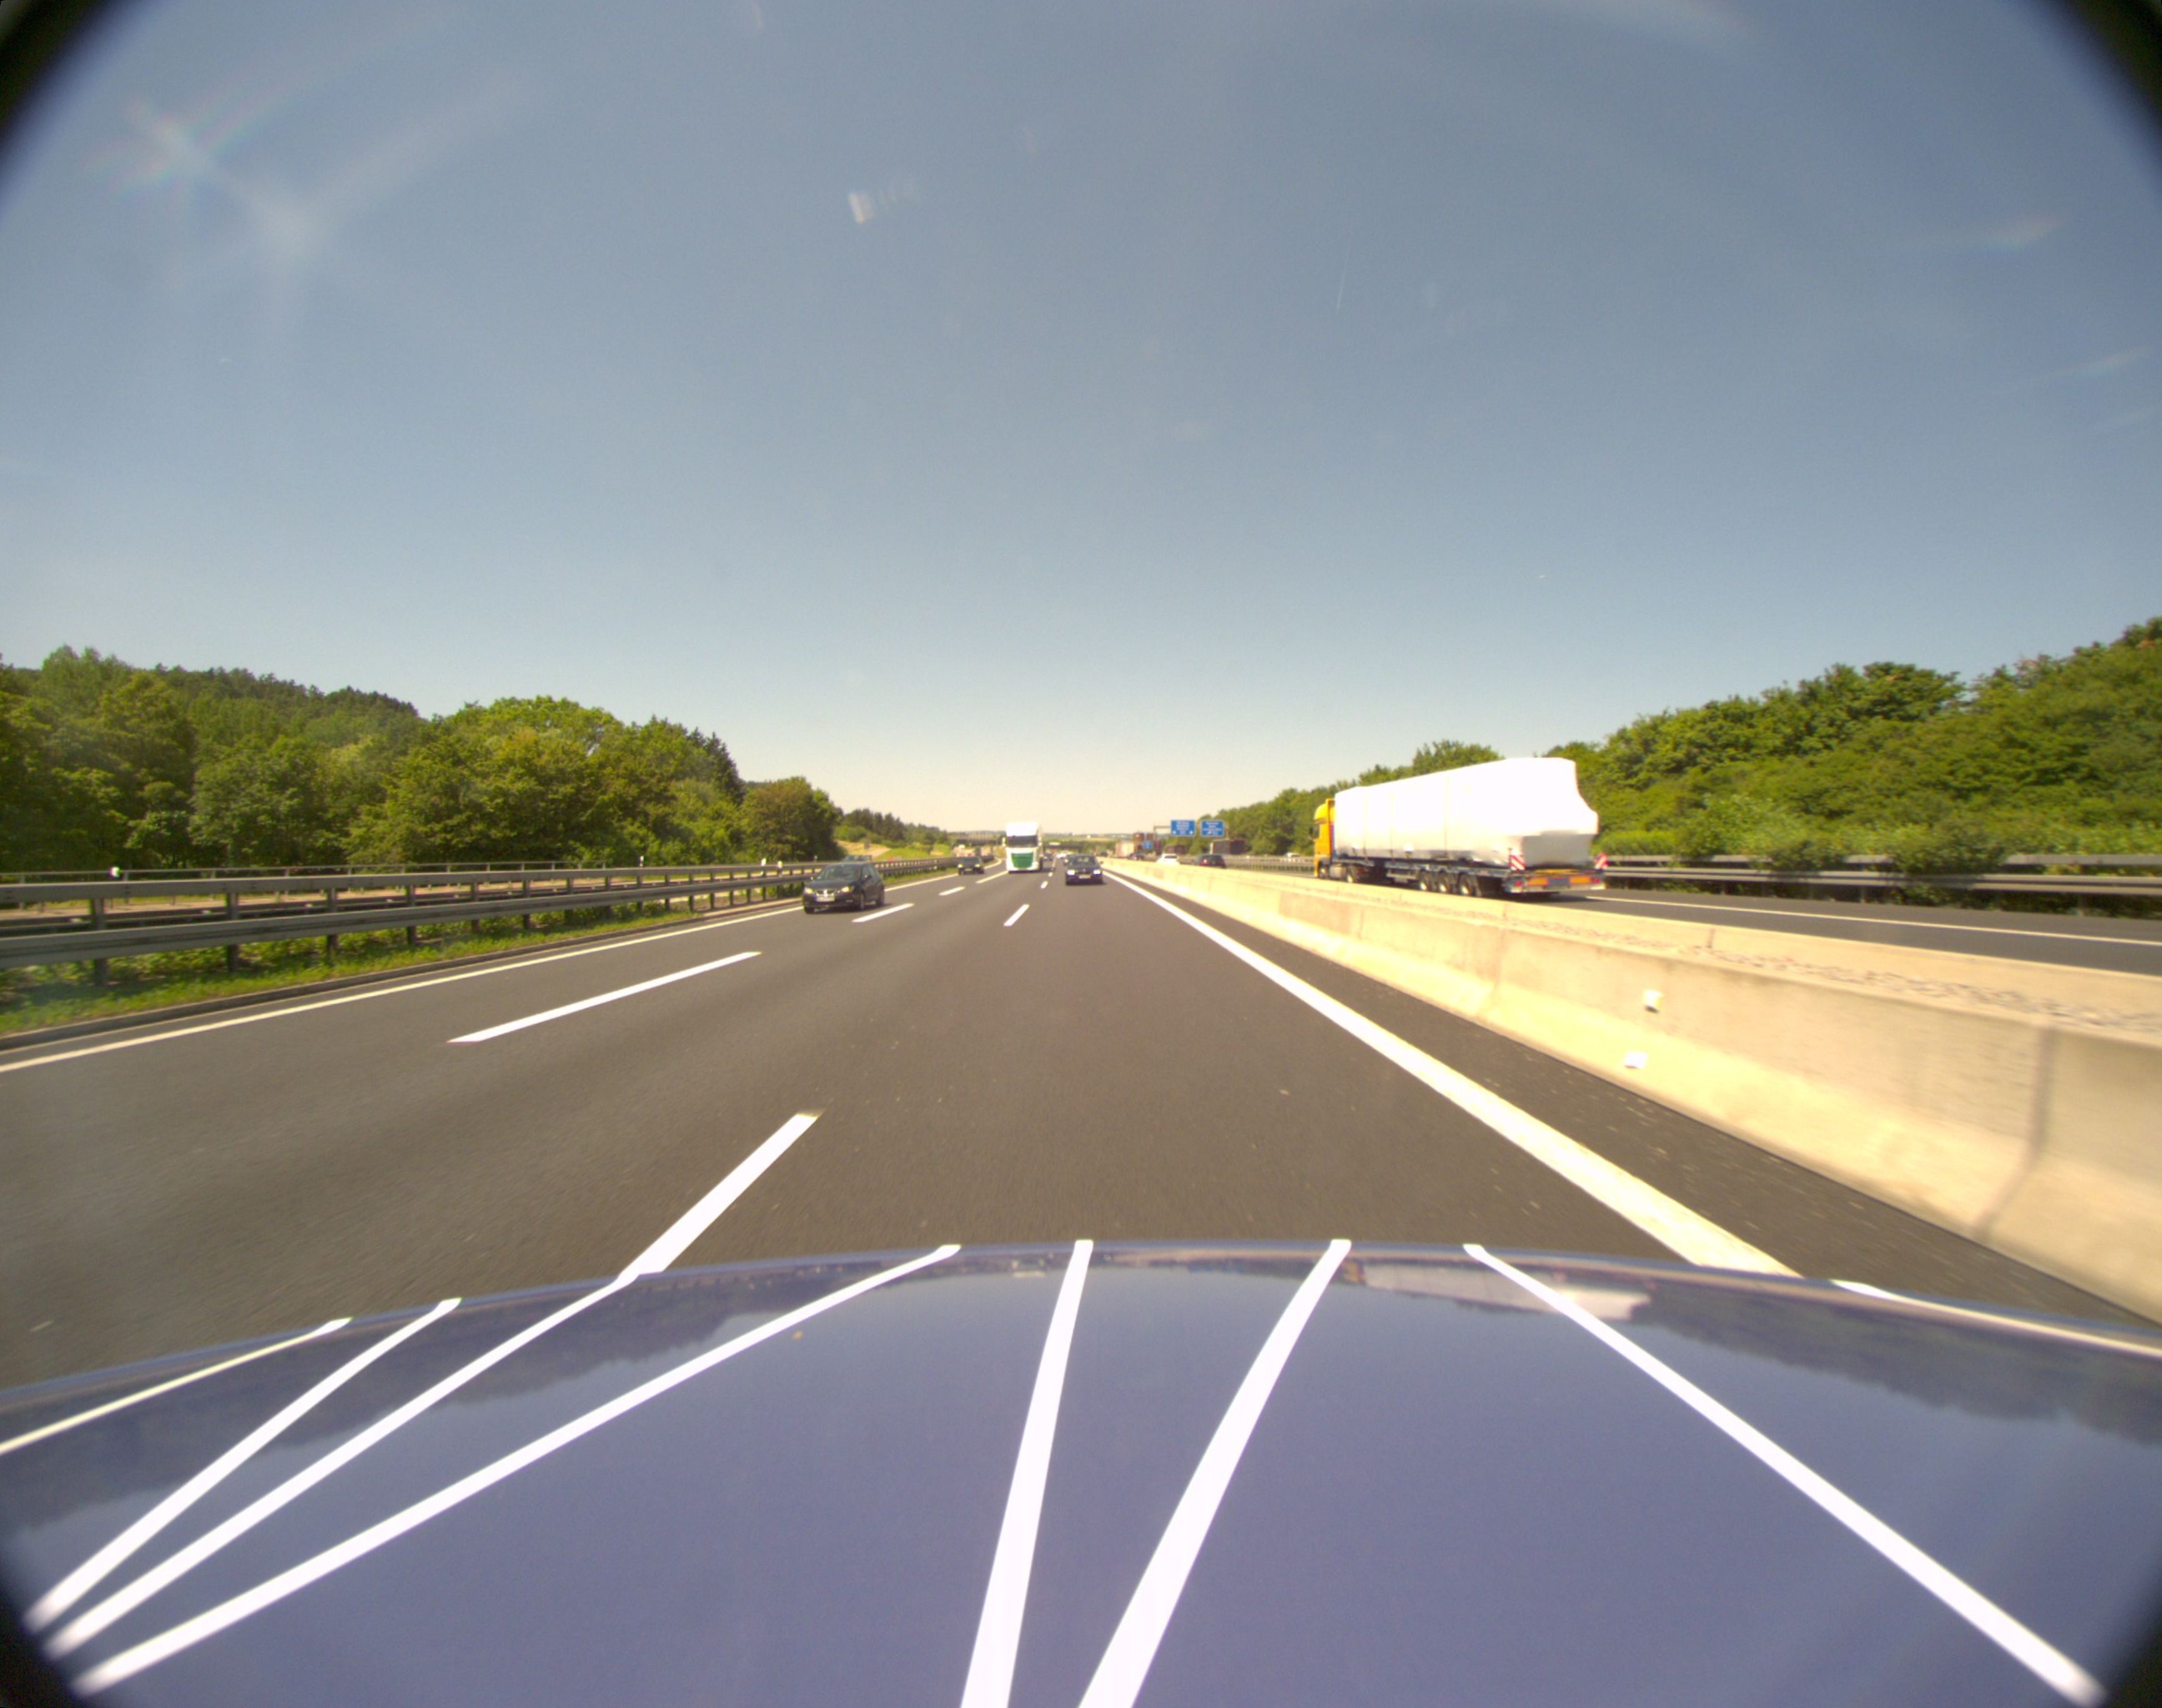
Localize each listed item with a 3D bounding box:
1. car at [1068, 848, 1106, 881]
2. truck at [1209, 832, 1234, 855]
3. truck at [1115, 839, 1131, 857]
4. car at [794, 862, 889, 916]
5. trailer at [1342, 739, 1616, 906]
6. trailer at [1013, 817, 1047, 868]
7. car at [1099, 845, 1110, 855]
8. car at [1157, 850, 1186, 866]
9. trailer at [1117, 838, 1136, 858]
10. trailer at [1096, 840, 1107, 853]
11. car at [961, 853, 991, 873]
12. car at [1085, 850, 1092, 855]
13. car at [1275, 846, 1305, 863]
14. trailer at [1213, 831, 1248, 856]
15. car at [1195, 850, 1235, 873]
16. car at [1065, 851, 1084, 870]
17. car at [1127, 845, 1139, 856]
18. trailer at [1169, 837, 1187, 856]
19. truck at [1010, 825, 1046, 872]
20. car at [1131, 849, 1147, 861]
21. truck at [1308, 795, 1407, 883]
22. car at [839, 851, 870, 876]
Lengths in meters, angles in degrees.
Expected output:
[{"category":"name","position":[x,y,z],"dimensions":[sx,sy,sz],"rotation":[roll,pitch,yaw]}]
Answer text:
[{"category":"car","position":[0.265,0.505,39.778],"dimensions":[1.799,1.574,3.998],"rotation":[-1,1,-2]},{"category":"truck","position":[25.794,-1.926,139.913],"dimensions":[3.228,4.022,6.637],"rotation":[-1,1,-1]},{"category":"truck","position":[9.213,-1.357,167.426],"dimensions":[2.936,3.950,5.896],"rotation":[-1,1,-2]},{"category":"car","position":[-7.186,1.006,23.182],"dimensions":[1.781,1.392,3.760],"rotation":[-1,1,-2]},{"category":"trailer","position":[12.573,-0.898,26.197],"dimensions":[2.725,4.287,12.821],"rotation":[-1,1,0]},{"category":"trailer","position":[-4.552,-0.987,70.505],"dimensions":[2.663,4.164,14.890],"rotation":[-1,0,-2]},{"category":"car","position":[5.104,-0.884,166.325],"dimensions":[2.057,2.002,4.952],"rotation":[-1,1,-4]},{"category":"car","position":[8.268,0.325,69.989],"dimensions":[1.999,1.366,4.661],"rotation":[-1,0,-1]},{"category":"trailer","position":[9.404,-1.224,159.986],"dimensions":[2.917,4.022,12.059],"rotation":[-1,1,-1]},{"category":"trailer","position":[6.669,-2.441,244.288],"dimensions":[2.674,4.248,13.810],"rotation":[-1,1,-2]},{"category":"car","position":[-8.393,0.689,61.019],"dimensions":[1.892,1.464,3.866],"rotation":[-1,1,-1]},{"category":"car","position":[2.578,-0.530,260.798],"dimensions":[1.989,1.815,4.824],"rotation":[5,0,-3]},{"category":"car","position":[23.323,0.053,84.950],"dimensions":[1.999,1.846,4.428],"rotation":[0,0,-2]},{"category":"trailer","position":[25.966,-1.841,132.792],"dimensions":[3.228,4.022,13.532],"rotation":[-1,1,-1]},{"category":"car","position":[8.530,0.458,48.605],"dimensions":[1.998,1.342,4.259],"rotation":[-1,1,3]},{"category":"car","position":[-0.773,0.677,86.311],"dimensions":[1.999,2.002,3.999],"rotation":[-1,1,-2]},{"category":"car","position":[9.398,-0.660,137.093],"dimensions":[1.998,2.002,4.485],"rotation":[-1,1,2]},{"category":"trailer","position":[24.316,-1.903,191.269],"dimensions":[2.801,4.408,11.651],"rotation":[-1,1,0]},{"category":"truck","position":[-4.192,-0.442,60.901],"dimensions":[2.649,3.572,4.402],"rotation":[-1,1,-3]},{"category":"car","position":[7.653,0.056,100.890],"dimensions":[1.733,1.527,4.612],"rotation":[-1,0,0]},{"category":"truck","position":[12.606,-0.671,35.039],"dimensions":[2.756,3.733,4.865],"rotation":[-1,1,0]},{"category":"car","position":[-19.317,0.749,65.057],"dimensions":[2.000,2.002,3.996],"rotation":[-1,1,-9]}]
